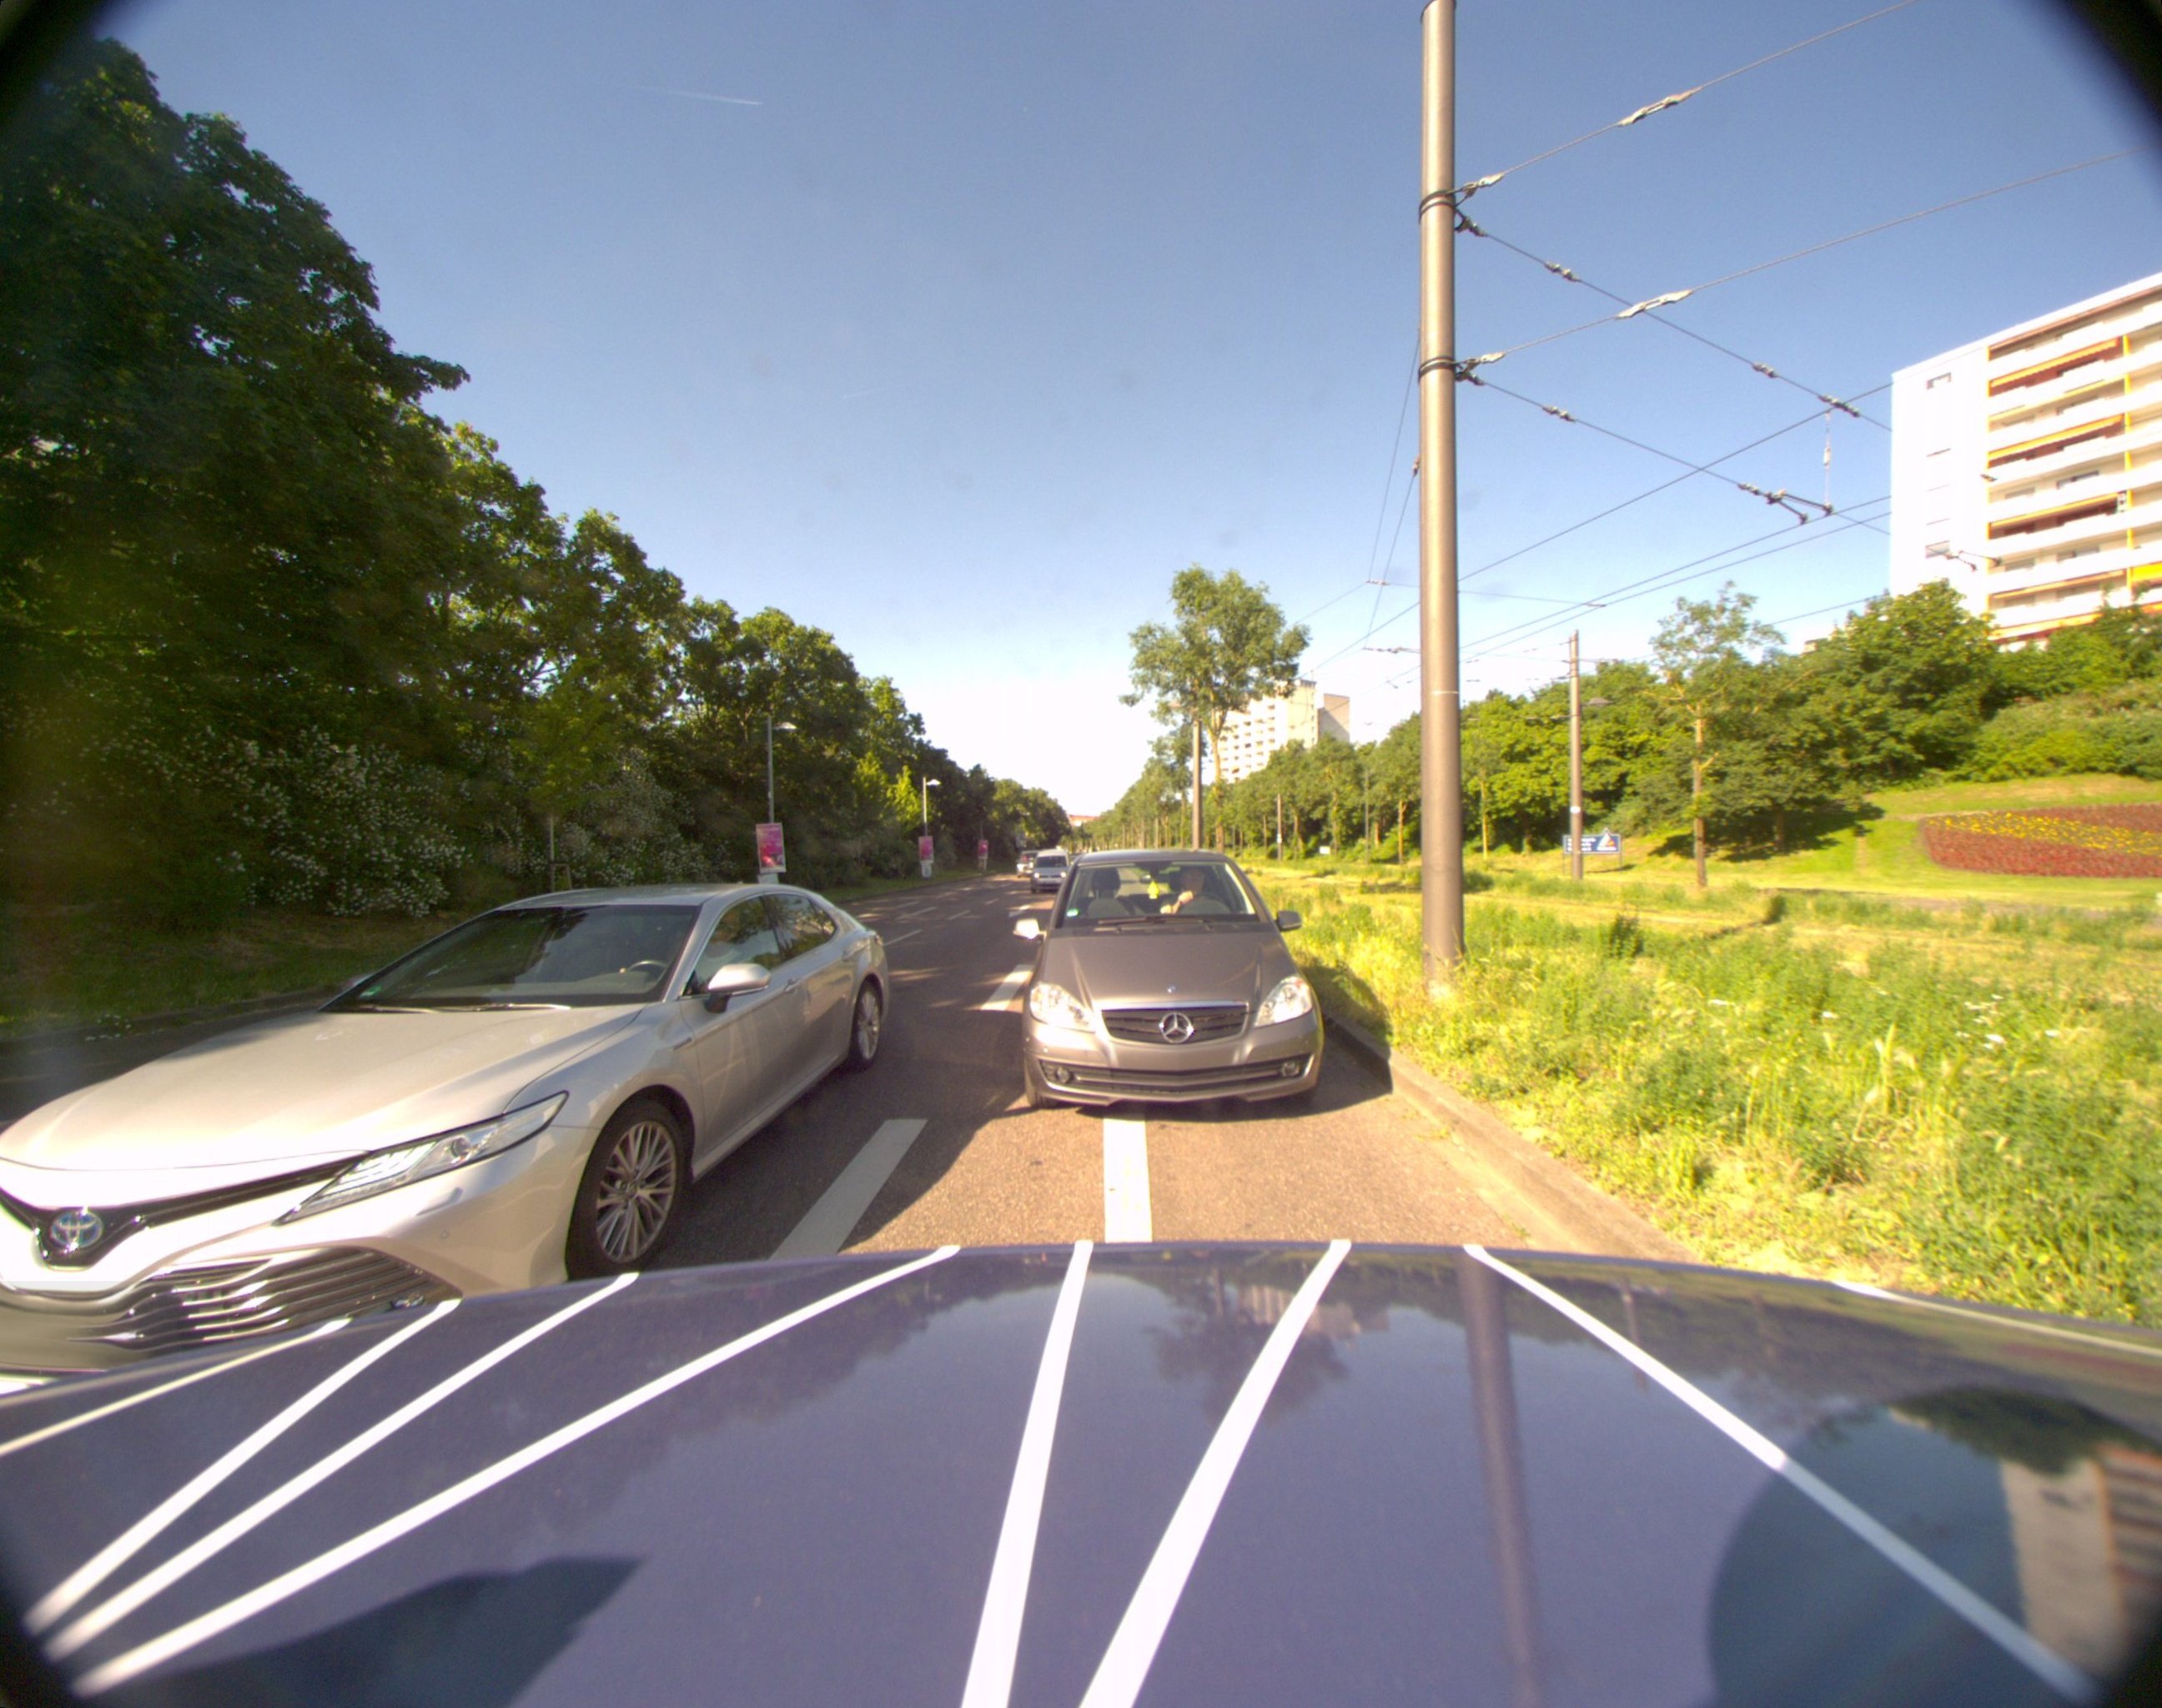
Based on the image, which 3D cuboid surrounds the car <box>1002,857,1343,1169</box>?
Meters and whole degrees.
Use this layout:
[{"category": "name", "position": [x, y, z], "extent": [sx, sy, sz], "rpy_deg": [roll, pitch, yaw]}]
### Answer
[{"category": "car", "position": [0.515, 0.851, 6.206], "extent": [1.777, 1.597, 4.384], "rpy_deg": [-1, 0, 1]}]

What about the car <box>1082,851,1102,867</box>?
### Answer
[{"category": "car", "position": [1.054, 0.435, 70.523], "extent": [1.776, 1.395, 4.067], "rpy_deg": [-1, 0, 2]}]

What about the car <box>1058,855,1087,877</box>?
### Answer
[{"category": "car", "position": [-0.531, 0.794, 50.999], "extent": [1.776, 1.395, 4.067], "rpy_deg": [-1, 0, 2]}]

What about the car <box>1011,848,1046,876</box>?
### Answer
[{"category": "car", "position": [-3.740, 0.525, 55.022], "extent": [1.998, 1.882, 5.148], "rpy_deg": [-1, 0, 1]}]

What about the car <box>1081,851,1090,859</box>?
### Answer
[{"category": "car", "position": [0.951, 0.173, 163.711], "extent": [1.777, 1.597, 4.384], "rpy_deg": [-1, 0, 1]}]

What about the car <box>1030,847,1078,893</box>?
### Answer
[{"category": "car", "position": [-1.144, 0.639, 34.042], "extent": [1.822, 1.893, 4.622], "rpy_deg": [-1, 0, 2]}]

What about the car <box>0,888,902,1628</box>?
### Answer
[{"category": "car", "position": [-2.645, 1.044, 4.122], "extent": [2.069, 1.451, 4.749], "rpy_deg": [-1, 0, 2]}]
